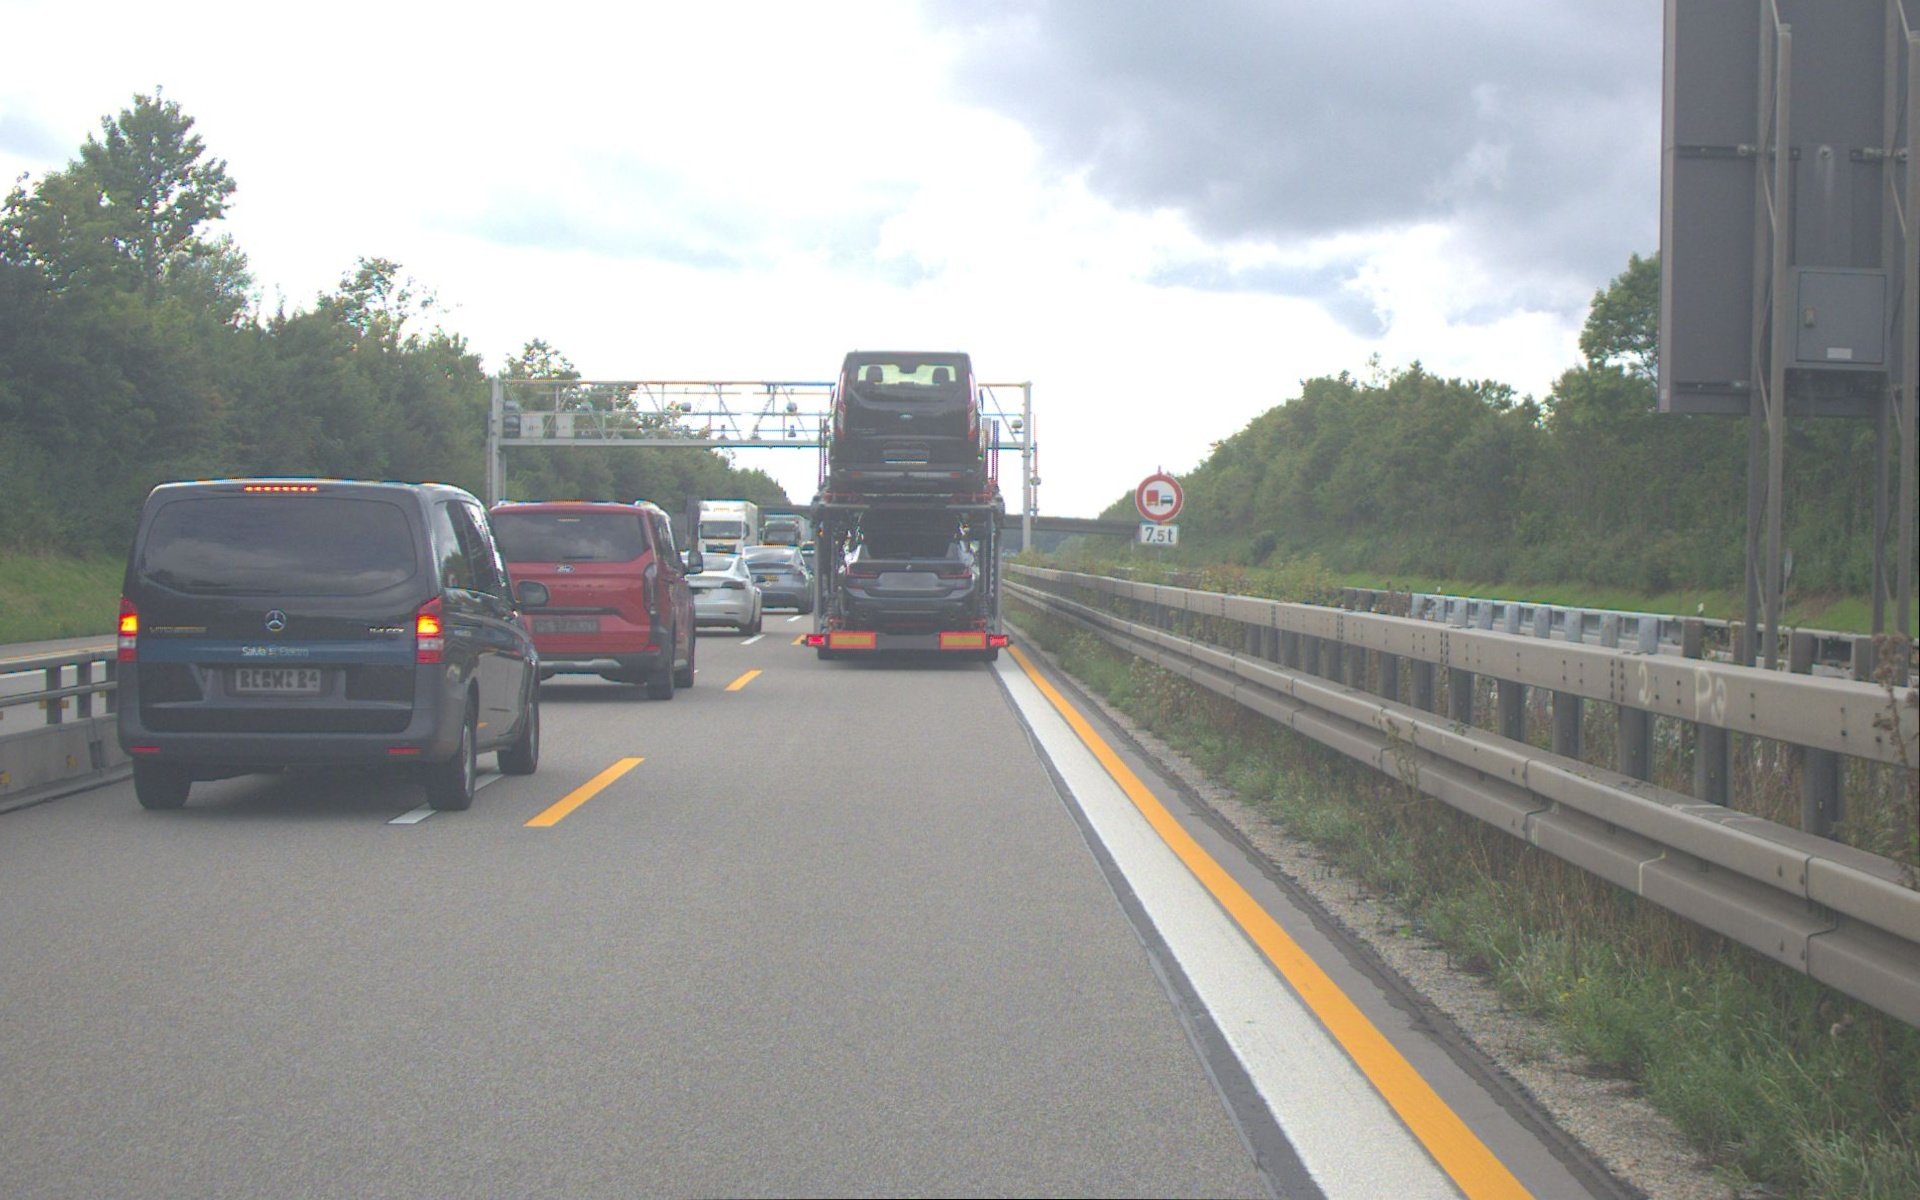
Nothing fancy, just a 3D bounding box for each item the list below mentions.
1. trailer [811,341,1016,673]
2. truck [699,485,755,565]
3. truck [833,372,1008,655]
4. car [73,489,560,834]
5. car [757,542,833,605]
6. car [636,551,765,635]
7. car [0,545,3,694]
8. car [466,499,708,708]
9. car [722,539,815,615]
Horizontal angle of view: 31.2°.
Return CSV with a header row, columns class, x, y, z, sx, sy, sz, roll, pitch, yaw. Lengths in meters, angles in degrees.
class,x,y,z,sx,sy,sz,roll,pitch,yaw
trailer,-0.576,-1.233,48.173,2.515,4.091,11.113,0,1,0
truck,-12.283,-3.955,181.797,2.598,4.140,5.621,1,1,-1
truck,-0.575,-1.301,52.929,2.515,4.091,5.685,0,1,0
car,-3.768,0.287,21.205,1.993,1.837,5.610,0,1,-1
car,-4.617,-0.759,96.534,2.031,1.751,4.578,0,1,-1
car,-4.550,-0.153,60.865,2.031,1.426,4.578,0,1,-1
car,-10.724,0.226,32.414,1.993,1.519,5.024,1,1,0
car,-3.758,-0.002,35.389,2.031,2.007,4.578,0,1,-1
car,-4.491,-0.563,81.263,2.031,1.751,4.578,0,1,-1
